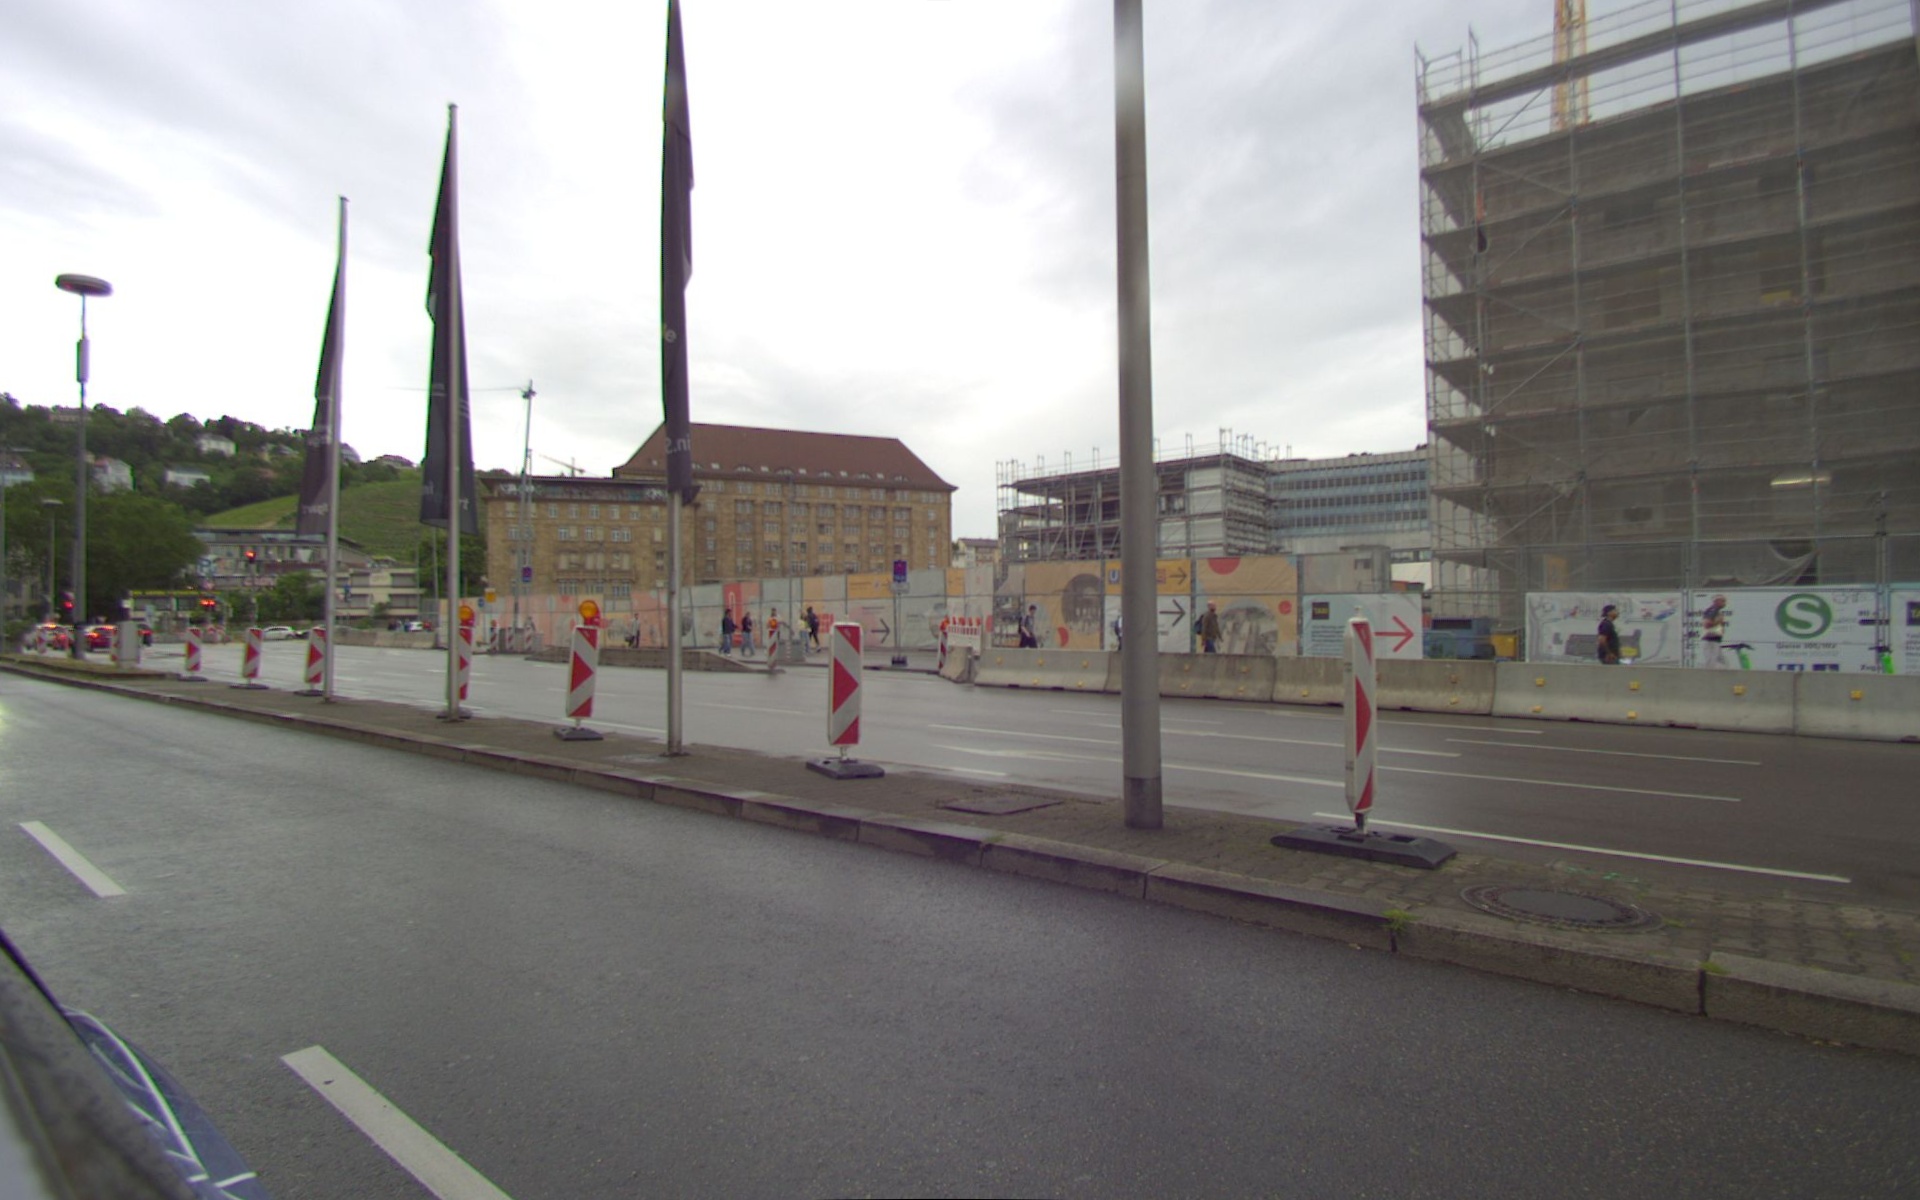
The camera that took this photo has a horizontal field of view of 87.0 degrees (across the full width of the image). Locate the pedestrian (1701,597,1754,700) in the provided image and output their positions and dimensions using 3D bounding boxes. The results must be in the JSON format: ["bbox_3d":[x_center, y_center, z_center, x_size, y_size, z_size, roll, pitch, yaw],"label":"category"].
[{"bbox_3d":[14.182,0.883,18.700,0.717,1.850,0.475,-1,0,41],"label":"pedestrian"}]

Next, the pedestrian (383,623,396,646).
[{"bbox_3d":[-41.489,2.521,73.609,0.544,1.628,0.706,-1,0,41],"label":"pedestrian"}]

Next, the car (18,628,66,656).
[{"bbox_3d":[-59.716,2.679,65.837,3.913,1.707,1.763,-1,0,40],"label":"car"}]

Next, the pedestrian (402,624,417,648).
[{"bbox_3d":[-37.352,2.419,68.651,0.544,1.628,0.706,-1,0,41],"label":"pedestrian"}]

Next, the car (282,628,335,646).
[{"bbox_3d":[-59.410,3.354,92.255,3.934,1.644,2.005,0,-2,-36],"label":"car"}]

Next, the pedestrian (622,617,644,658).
[{"bbox_3d":[-14.937,1.709,46.200,0.720,1.850,0.656,-1,0,41],"label":"pedestrian"}]

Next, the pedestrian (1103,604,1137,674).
[{"bbox_3d":[4.315,1.048,27.301,0.717,1.850,0.475,-1,0,41],"label":"pedestrian"}]

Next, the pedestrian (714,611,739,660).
[{"bbox_3d":[-8.638,1.300,37.474,0.704,1.746,0.719,-1,0,-31],"label":"pedestrian"}]

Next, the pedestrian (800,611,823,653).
[{"bbox_3d":[-5.864,1.240,40.010,0.544,1.628,0.706,-1,0,41],"label":"pedestrian"}]

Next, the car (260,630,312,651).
[{"bbox_3d":[-68.820,4.118,103.387,4.136,1.871,1.833,-1,0,-44],"label":"car"}]

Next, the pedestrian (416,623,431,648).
[{"bbox_3d":[-35.992,2.386,67.903,0.544,1.628,0.706,-1,0,41],"label":"pedestrian"}]

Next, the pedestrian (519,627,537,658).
[{"bbox_3d":[-23.183,2.273,54.250,0.544,1.628,0.706,-1,0,41],"label":"pedestrian"}]

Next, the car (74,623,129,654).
[{"bbox_3d":[-48.475,2.157,57.116,3.914,1.707,1.762,-2,-2,41],"label":"car"}]

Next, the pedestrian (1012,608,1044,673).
[{"bbox_3d":[1.972,1.160,29.431,0.717,1.850,0.579,-1,0,41],"label":"pedestrian"}]

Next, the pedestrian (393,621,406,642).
[{"bbox_3d":[-43.798,2.486,79.051,0.544,1.628,0.706,-1,0,41],"label":"pedestrian"}]

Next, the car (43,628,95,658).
[{"bbox_3d":[-54.457,2.589,61.827,3.913,1.707,1.763,-1,0,40],"label":"car"}]

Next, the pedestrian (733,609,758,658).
[{"bbox_3d":[-8.259,1.268,38.994,0.704,1.850,0.719,-1,0,-31],"label":"pedestrian"}]

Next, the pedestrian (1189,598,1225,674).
[{"bbox_3d":[6.061,0.871,24.843,0.717,1.850,0.475,-1,0,41],"label":"pedestrian"}]

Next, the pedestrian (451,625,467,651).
[{"bbox_3d":[-31.679,2.402,63.990,0.544,1.628,0.706,-1,0,41],"label":"pedestrian"}]

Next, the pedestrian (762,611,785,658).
[{"bbox_3d":[-7.087,1.294,38.442,0.704,1.757,0.565,-1,0,-29],"label":"pedestrian"}]

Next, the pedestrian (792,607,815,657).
[{"bbox_3d":[-5.948,1.212,38.460,0.651,1.850,0.557,-1,0,-29],"label":"pedestrian"}]

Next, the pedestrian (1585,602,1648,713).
[{"bbox_3d":[11.245,0.964,17.334,0.819,1.850,0.572,-1,0,41],"label":"pedestrian"}]
